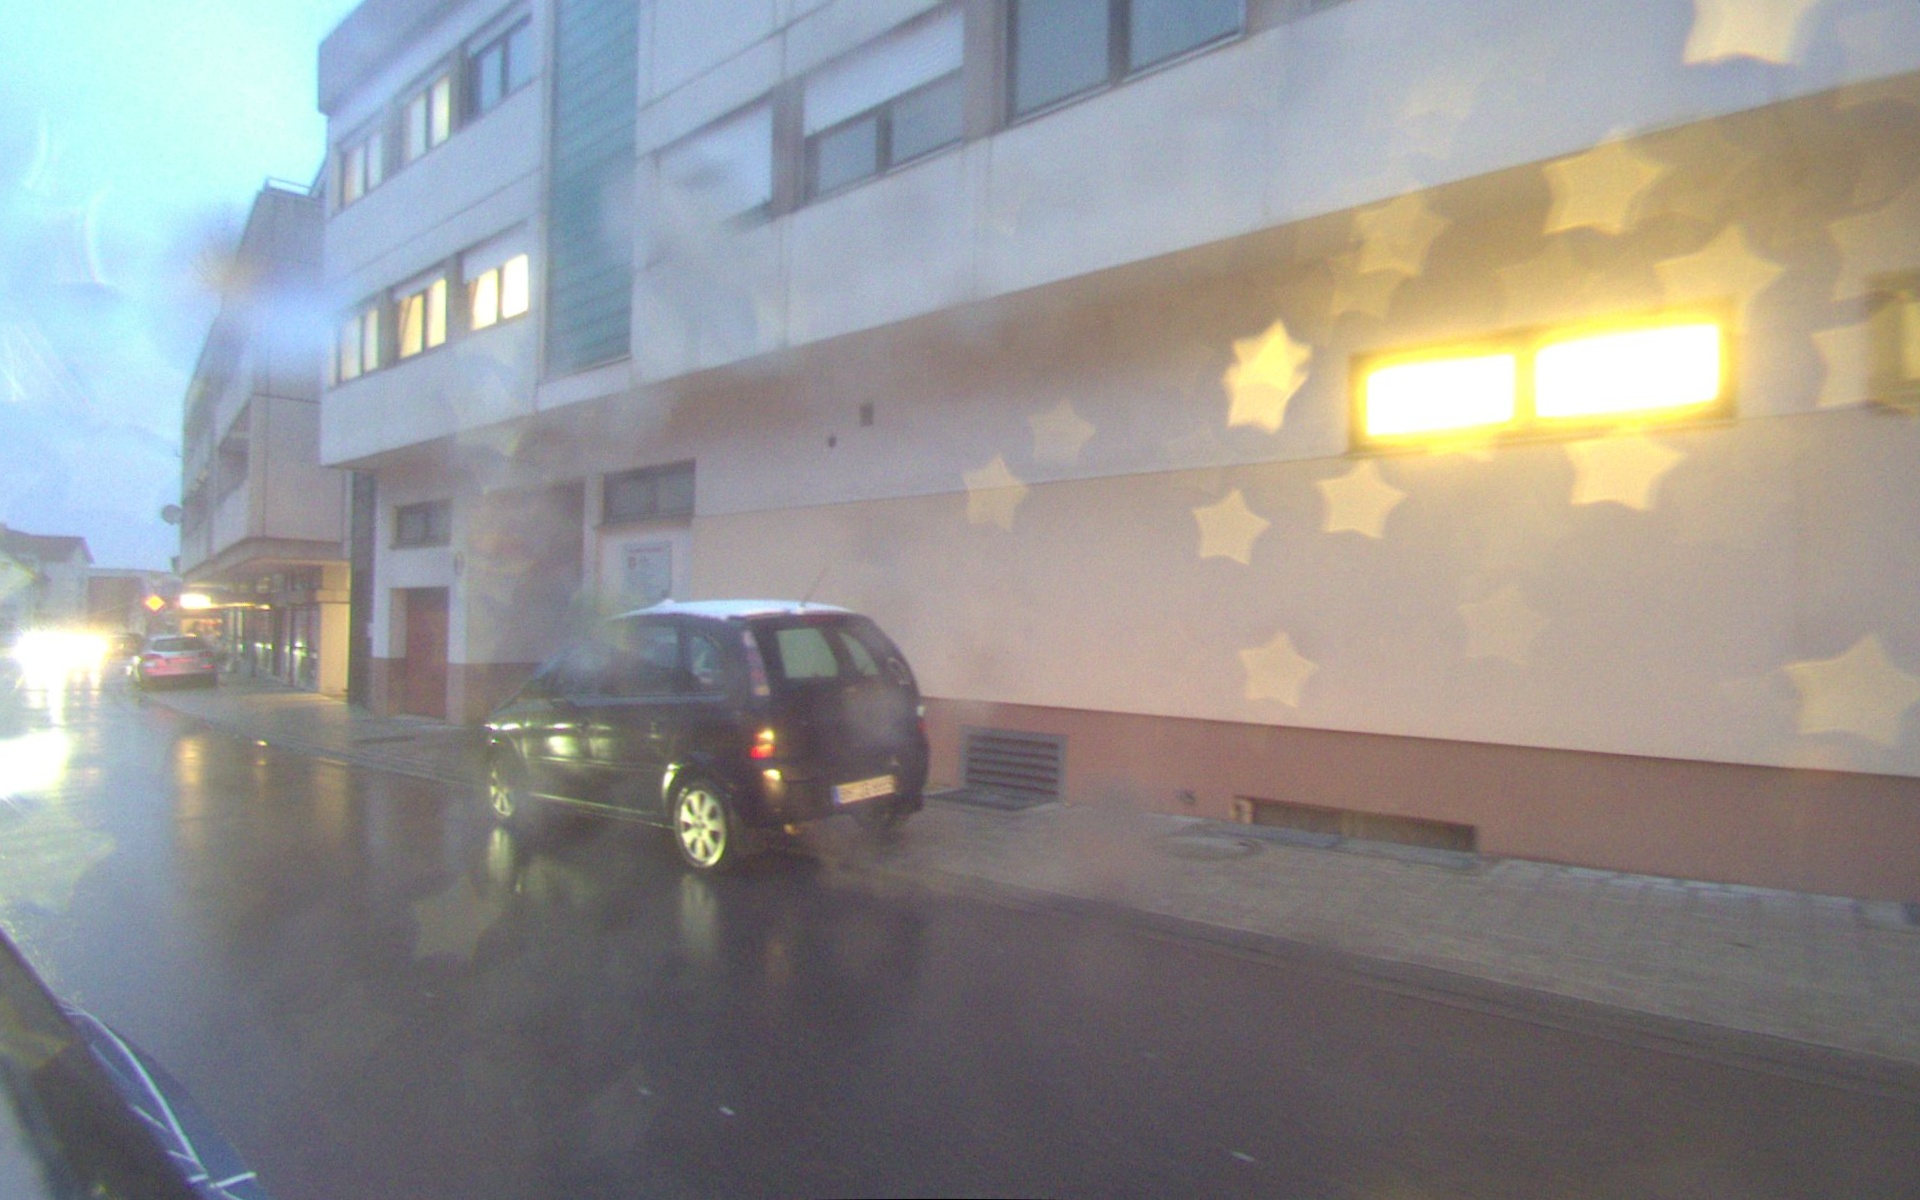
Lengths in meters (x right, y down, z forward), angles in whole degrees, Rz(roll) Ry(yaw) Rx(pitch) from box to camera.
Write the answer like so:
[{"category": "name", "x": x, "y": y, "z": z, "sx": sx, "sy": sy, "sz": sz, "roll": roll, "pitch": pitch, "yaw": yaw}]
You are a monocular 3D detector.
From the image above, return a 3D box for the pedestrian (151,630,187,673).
[{"category": "pedestrian", "x": -36.420, "y": 2.387, "z": 46.622, "sx": 1.182, "sy": 1.953, "sz": 0.979, "roll": 2, "pitch": -4, "yaw": -33}]

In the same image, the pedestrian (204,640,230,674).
[{"category": "pedestrian", "x": -29.754, "y": 2.258, "z": 40.526, "sx": 0.746, "sy": 1.320, "sz": 0.829, "roll": 0, "pitch": -2, "yaw": -43}]

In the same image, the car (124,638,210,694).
[{"category": "car", "x": -22.914, "y": 1.854, "z": 29.195, "sx": 1.655, "sy": 1.457, "sz": 4.433, "roll": 0, "pitch": -2, "yaw": -42}]

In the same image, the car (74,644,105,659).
[{"category": "car", "x": -88.540, "y": 5.212, "z": 102.981, "sx": 1.770, "sy": 1.522, "sz": 4.011, "roll": 3, "pitch": -4, "yaw": -33}]

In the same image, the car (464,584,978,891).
[{"category": "car", "x": -1.900, "y": 0.799, "z": 7.401, "sx": 3.810, "sy": 1.655, "sz": 1.775, "roll": -2, "pitch": -2, "yaw": 41}]

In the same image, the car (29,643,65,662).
[{"category": "car", "x": -77.137, "y": 4.451, "z": 85.528, "sx": 1.770, "sy": 1.522, "sz": 4.009, "roll": 4, "pitch": -4, "yaw": -37}]

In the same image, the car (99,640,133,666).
[{"category": "car", "x": -56.261, "y": 3.529, "z": 67.469, "sx": 1.699, "sy": 1.626, "sz": 3.822, "roll": -1, "pitch": -1, "yaw": -40}]
